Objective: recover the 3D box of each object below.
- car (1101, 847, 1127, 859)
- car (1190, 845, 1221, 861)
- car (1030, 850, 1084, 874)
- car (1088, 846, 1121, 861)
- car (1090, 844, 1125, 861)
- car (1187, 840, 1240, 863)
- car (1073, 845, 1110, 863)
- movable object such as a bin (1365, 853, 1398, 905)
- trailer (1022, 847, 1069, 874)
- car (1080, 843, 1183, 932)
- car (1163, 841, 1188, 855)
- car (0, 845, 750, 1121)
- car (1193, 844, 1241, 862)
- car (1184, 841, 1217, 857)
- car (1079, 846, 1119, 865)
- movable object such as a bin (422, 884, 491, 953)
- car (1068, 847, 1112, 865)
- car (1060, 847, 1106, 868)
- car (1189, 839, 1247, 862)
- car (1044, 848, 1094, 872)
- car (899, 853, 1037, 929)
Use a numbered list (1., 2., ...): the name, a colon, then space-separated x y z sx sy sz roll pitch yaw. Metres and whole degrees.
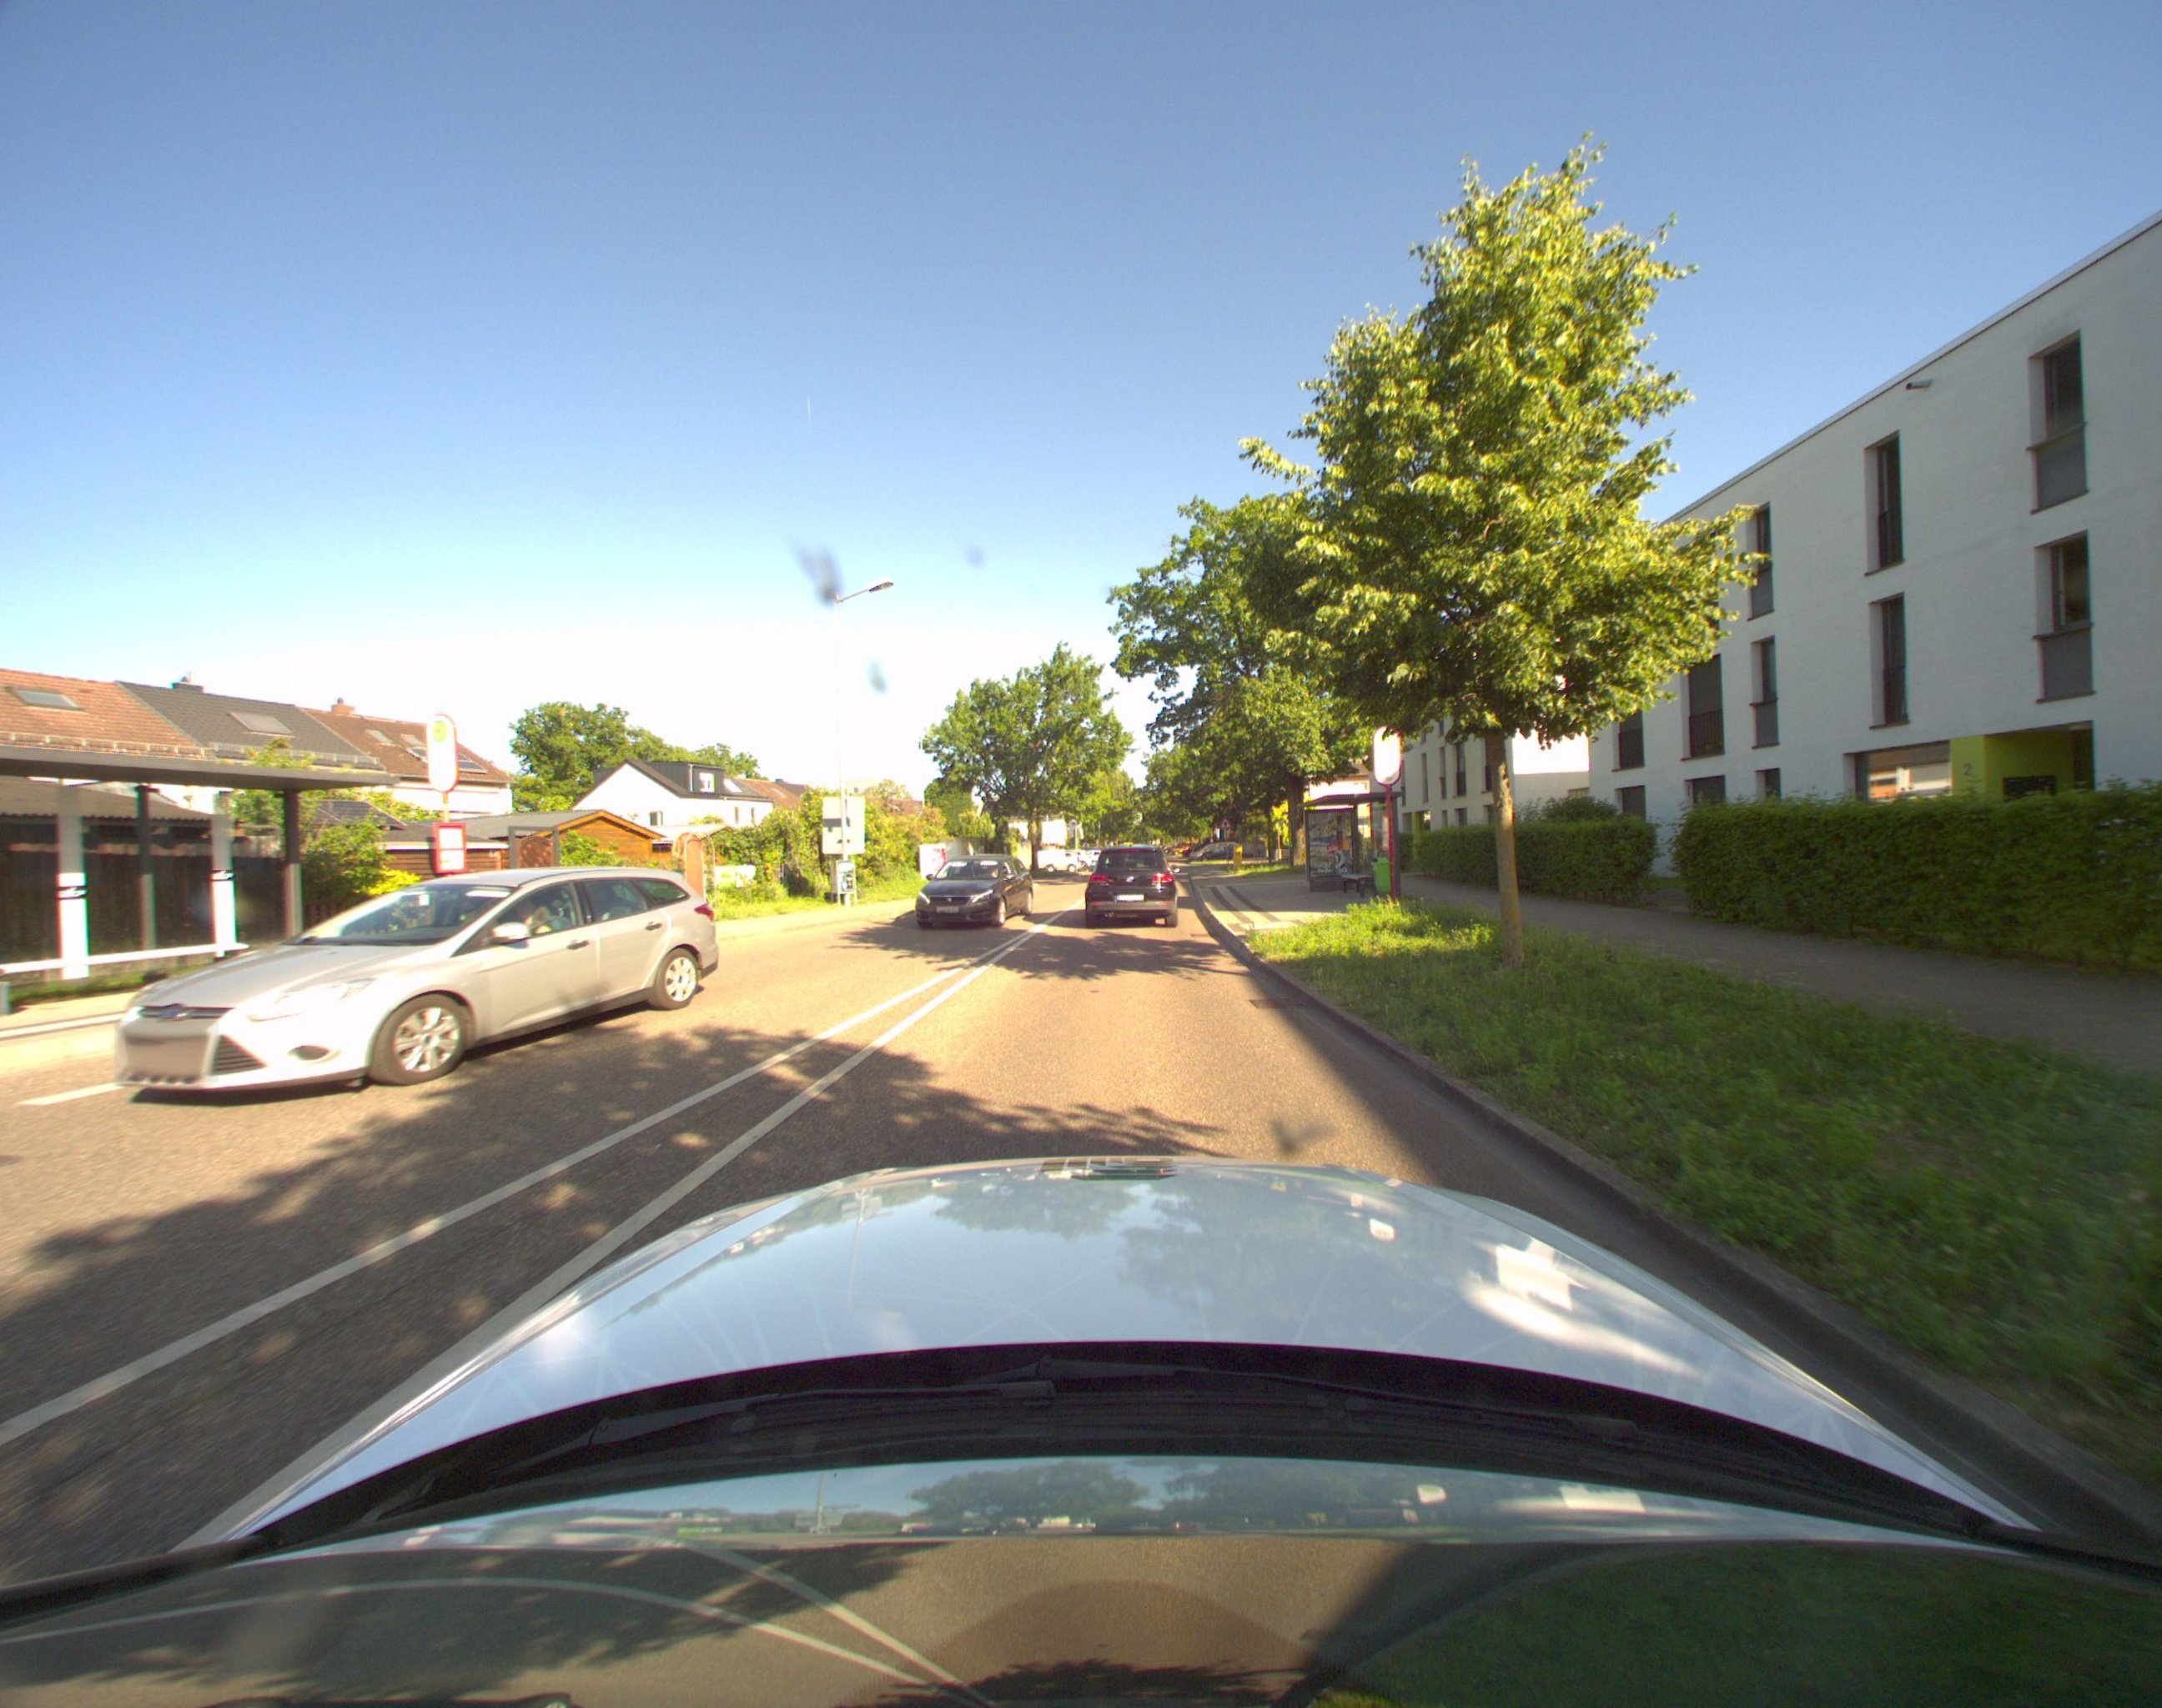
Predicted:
1. car: 5.147 -0.169 126.925 3.977 1.684 1.922 -3 0 -2
2. car: 13.117 -0.122 85.671 3.034 1.507 1.246 -3 0 -1
3. car: -1.637 0.551 57.006 3.531 1.477 1.811 -3 0 5
4. car: 2.988 -0.063 101.517 3.968 1.720 1.823 -2 -1 5
5. car: 3.383 -0.154 103.967 4.374 1.939 1.579 -2 -1 1
6. car: 12.001 -0.229 73.851 4.610 1.809 1.827 -3 0 5
7. car: 1.199 0.013 91.990 3.972 1.836 1.638 -3 0 1
8. movable object such as a bin: 6.089 0.490 16.517 0.368 1.016 0.599 -2 0 -4
9. trailer: -2.371 0.444 54.699 2.956 1.656 1.397 -3 0 1
10. car: 1.029 0.607 17.625 1.922 1.654 4.516 -1 1 2
11. car: 15.511 -0.966 133.808 3.966 2.014 2.003 -3 -2 6
12. car: -5.292 0.764 7.133 2.195 1.591 4.549 -2 0 12
13. car: 11.915 -0.109 71.347 3.967 1.368 1.849 -2 0 5
14. car: 14.978 -0.634 101.878 3.966 1.775 1.793 -2 0 6
15. car: 1.870 0.140 84.425 3.972 1.731 2.001 -3 0 2
16. movable object such as a bin: -9.420 0.956 12.295 0.589 0.967 0.560 2 1 10
17. car: 0.891 0.205 79.728 3.965 1.640 2.004 -2 0 7
18. car: 0.192 0.297 74.422 3.966 1.670 2.004 -2 0 6
19. car: 12.849 -0.293 76.829 5.234 1.945 2.003 -2 0 5
20. car: -0.872 0.427 59.628 3.538 1.613 1.852 -2 0 0
21. car: -2.339 0.727 18.175 1.983 1.443 4.459 -1 0 6
